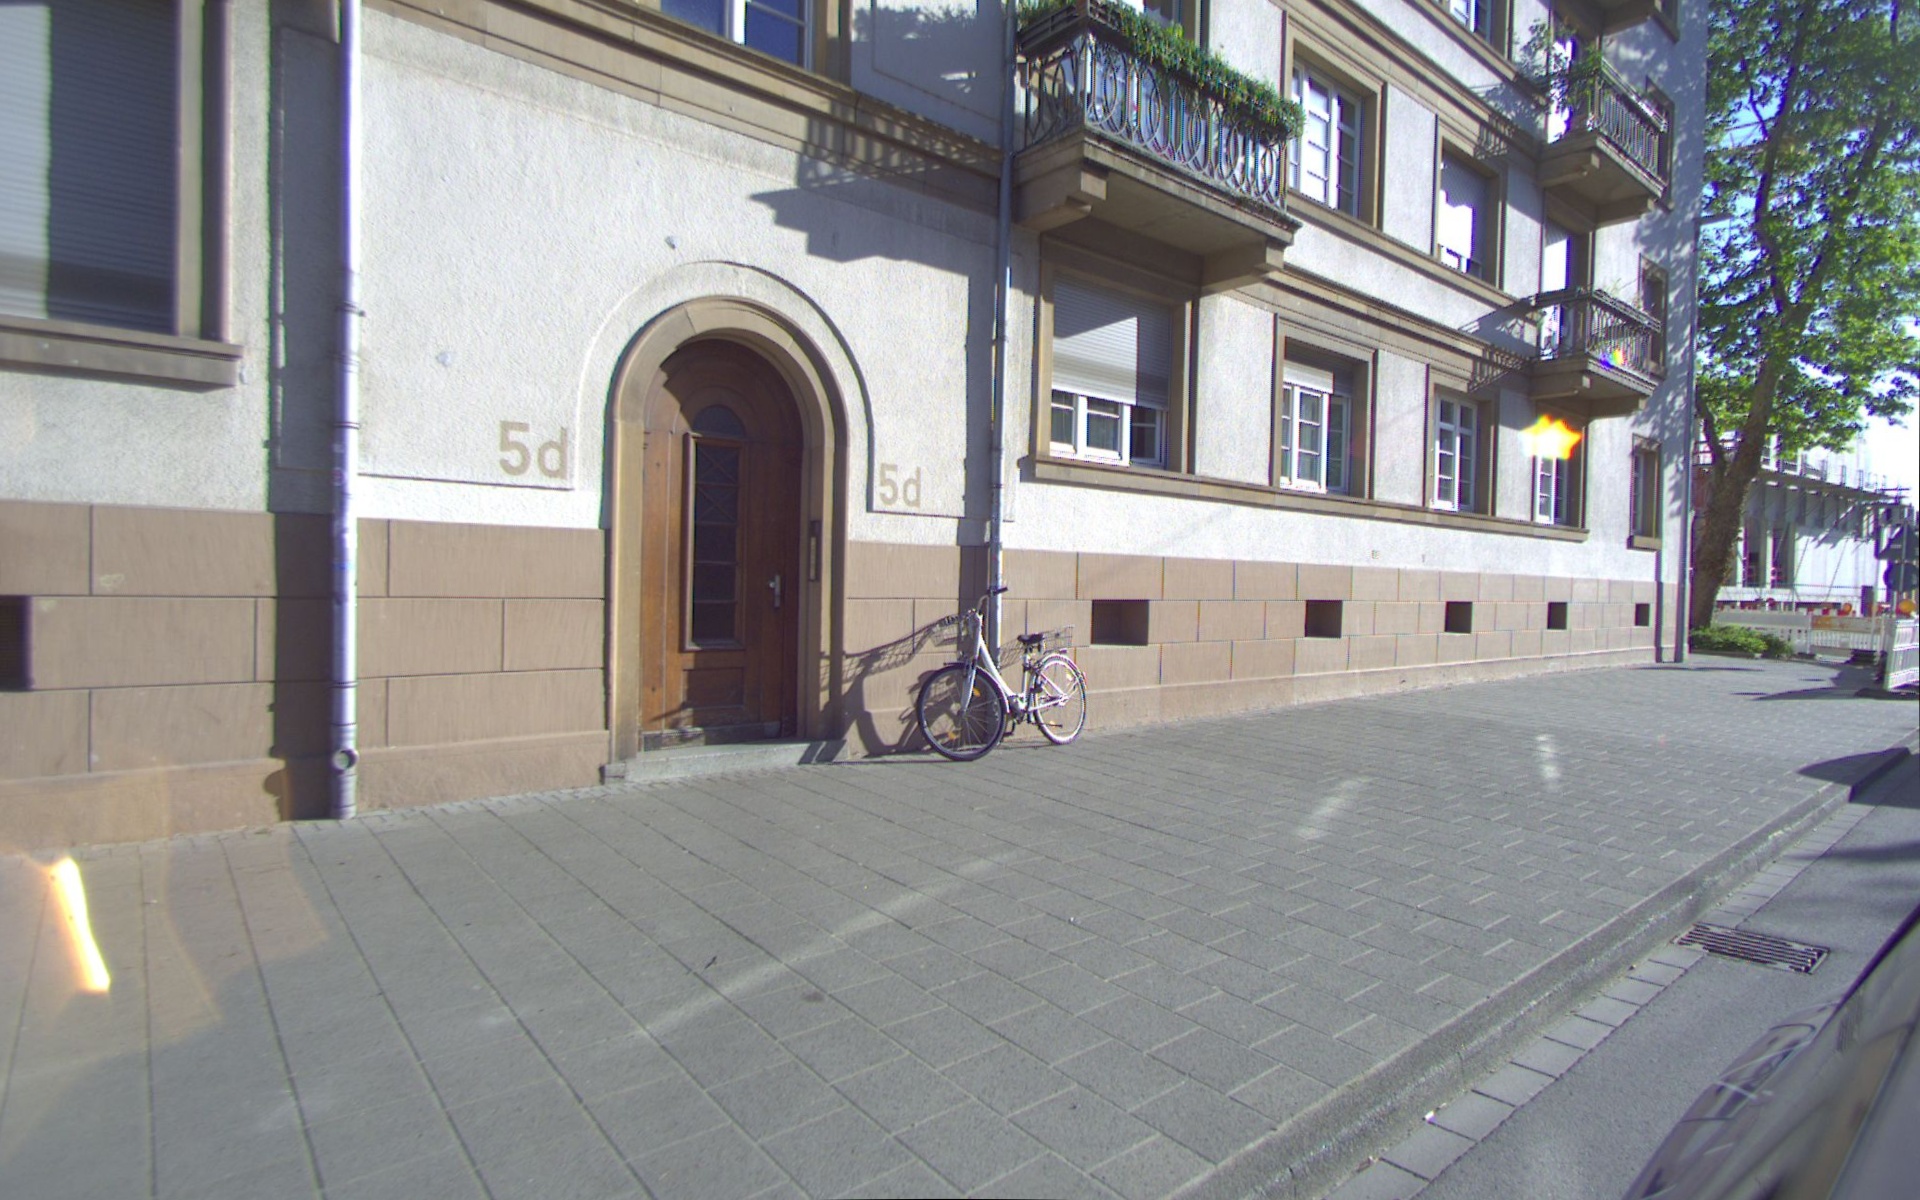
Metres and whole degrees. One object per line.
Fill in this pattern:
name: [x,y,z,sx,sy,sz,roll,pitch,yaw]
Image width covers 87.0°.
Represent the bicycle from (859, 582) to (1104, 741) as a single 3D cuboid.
bicycle: [0.232,0.426,7.927,2.159,1.109,0.419,0,2,-40]
